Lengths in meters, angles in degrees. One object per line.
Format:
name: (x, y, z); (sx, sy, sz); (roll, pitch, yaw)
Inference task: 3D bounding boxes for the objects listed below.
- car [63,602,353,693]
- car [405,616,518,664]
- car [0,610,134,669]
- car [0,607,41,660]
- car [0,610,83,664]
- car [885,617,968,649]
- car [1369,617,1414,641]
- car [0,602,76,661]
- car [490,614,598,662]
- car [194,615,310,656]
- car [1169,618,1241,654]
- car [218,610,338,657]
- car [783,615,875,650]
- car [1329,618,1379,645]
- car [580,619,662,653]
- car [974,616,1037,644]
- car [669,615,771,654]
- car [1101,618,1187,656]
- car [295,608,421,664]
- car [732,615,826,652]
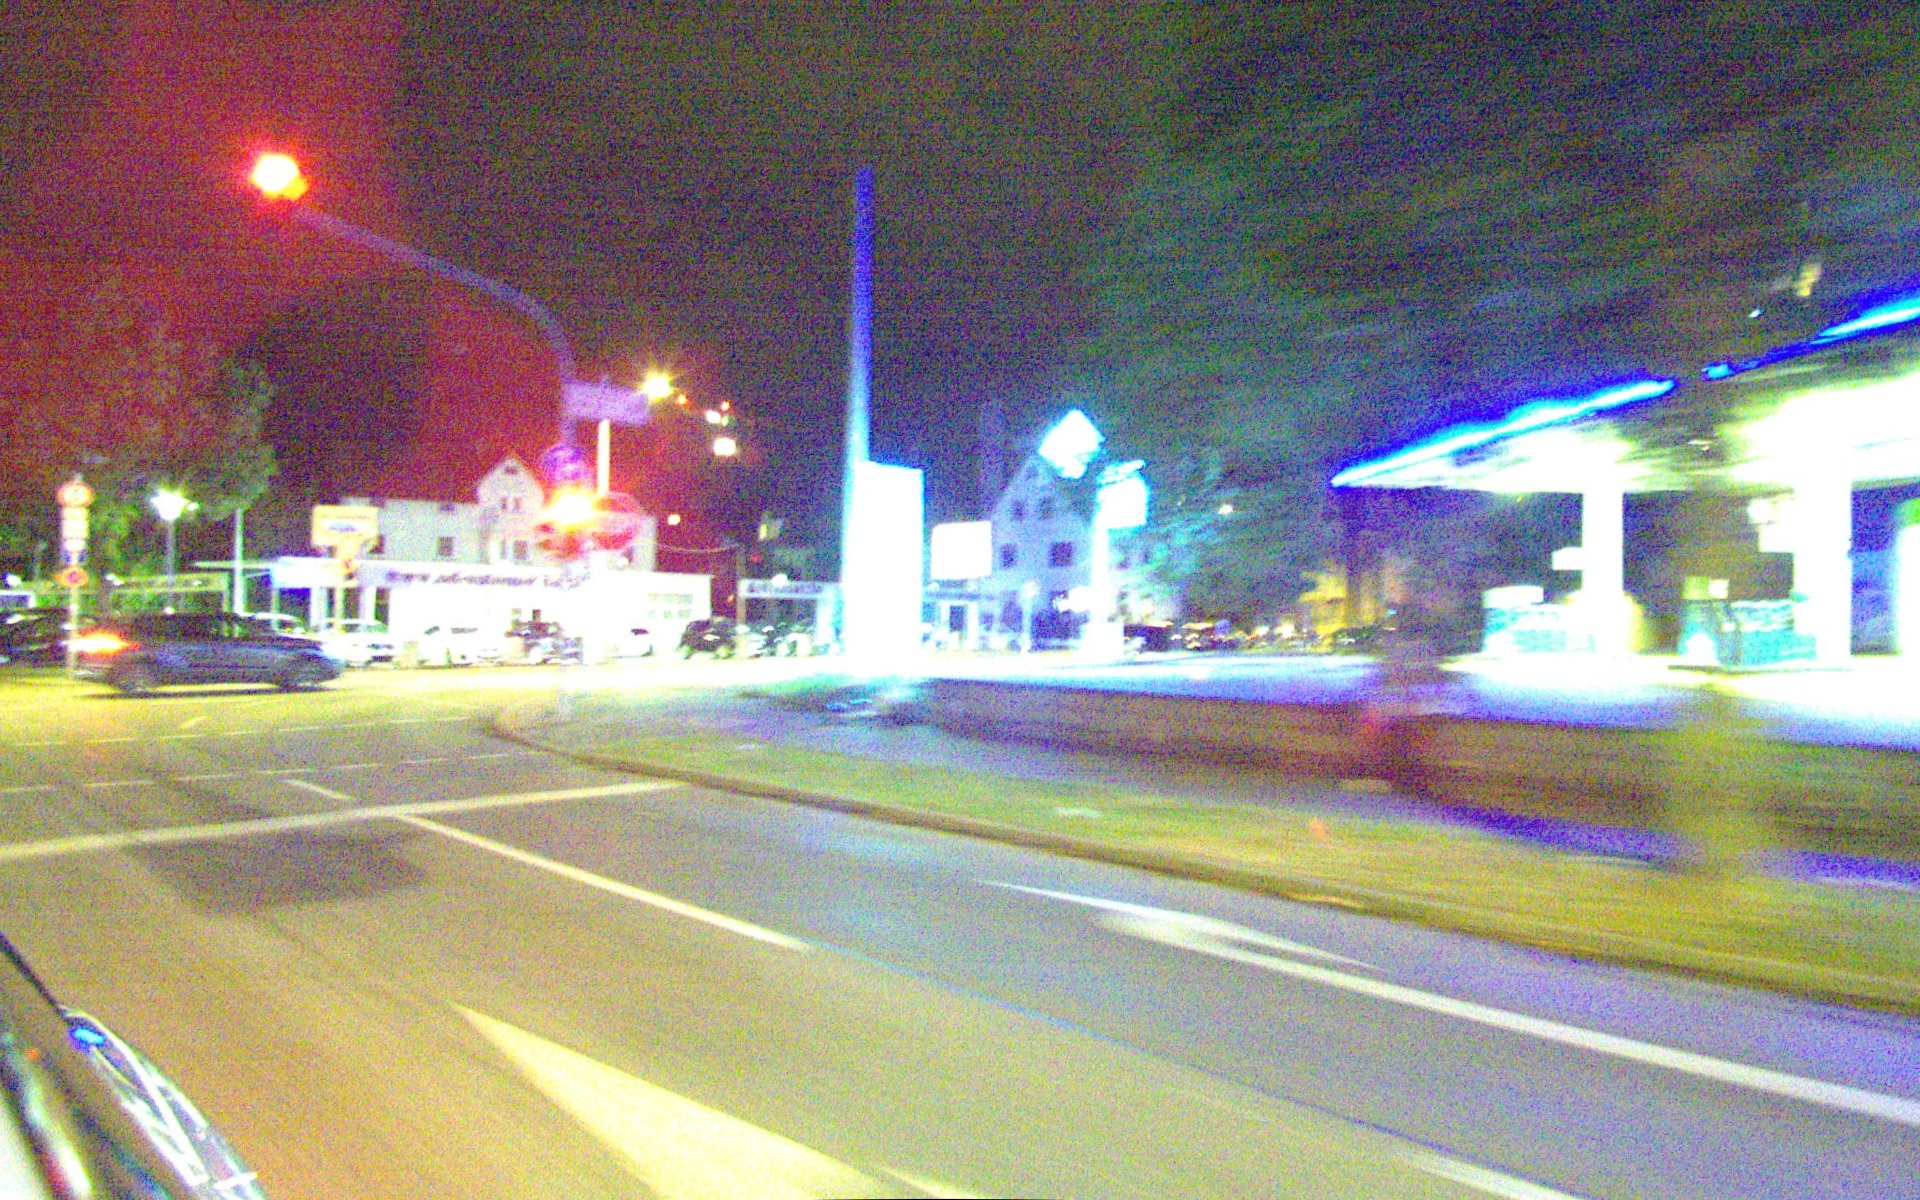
car: (-14.479, 0.856, 19.698); (1.685, 1.571, 4.258); (-1, -1, 40)
car: (-16.296, 1.272, 33.035); (4.067, 1.472, 1.840); (-1, -2, 40)
car: (-25.969, 1.099, 28.637); (1.632, 1.598, 3.717); (0, -2, 37)
car: (-33.813, 1.117, 34.233); (1.632, 1.805, 3.801); (0, -2, 37)
car: (-29.914, 1.136, 31.616); (1.618, 1.641, 3.533); (0, -2, 37)
car: (-1.686, 1.606, 49.785); (3.955, 1.489, 1.743); (-1, -1, 40)
car: (26.845, 1.795, 62.919); (1.680, 1.422, 3.524); (-1, -1, 39)
car: (-31.825, 1.027, 33.169); (1.632, 1.905, 4.006); (0, -2, 37)
car: (-14.623, 1.277, 35.507); (4.067, 1.565, 1.840); (-1, -1, 40)
car: (-28.836, 1.429, 41.293); (1.633, 1.598, 3.531); (-1, -2, 39)
car: (10.591, 1.524, 43.630); (1.680, 1.422, 3.524); (-1, -1, 39)
car: (-26.274, 1.285, 39.070); (1.633, 1.712, 3.530); (-1, -2, 40)
car: (-5.927, 1.429, 45.463); (4.083, 1.489, 1.840); (-1, -1, 40)
car: (22.404, 1.760, 57.468); (1.680, 1.422, 3.524); (-1, -1, 39)
car: (-15.948, 1.671, 47.832); (1.716, 1.489, 4.257); (-1, -1, 13)
car: (2.640, 1.713, 58.863); (3.412, 1.512, 1.589); (-1, 0, 41)
car: (-9.772, 1.374, 41.029); (4.351, 1.489, 1.840); (-1, -1, 40)
car: (7.225, 1.413, 39.504); (1.735, 1.422, 3.803); (-1, -2, 39)
car: (-18.389, 1.058, 30.854); (4.383, 1.569, 1.974); (-1, -1, 40)
car: (-7.726, 1.392, 43.006); (4.083, 1.489, 1.710); (-1, -1, 40)
